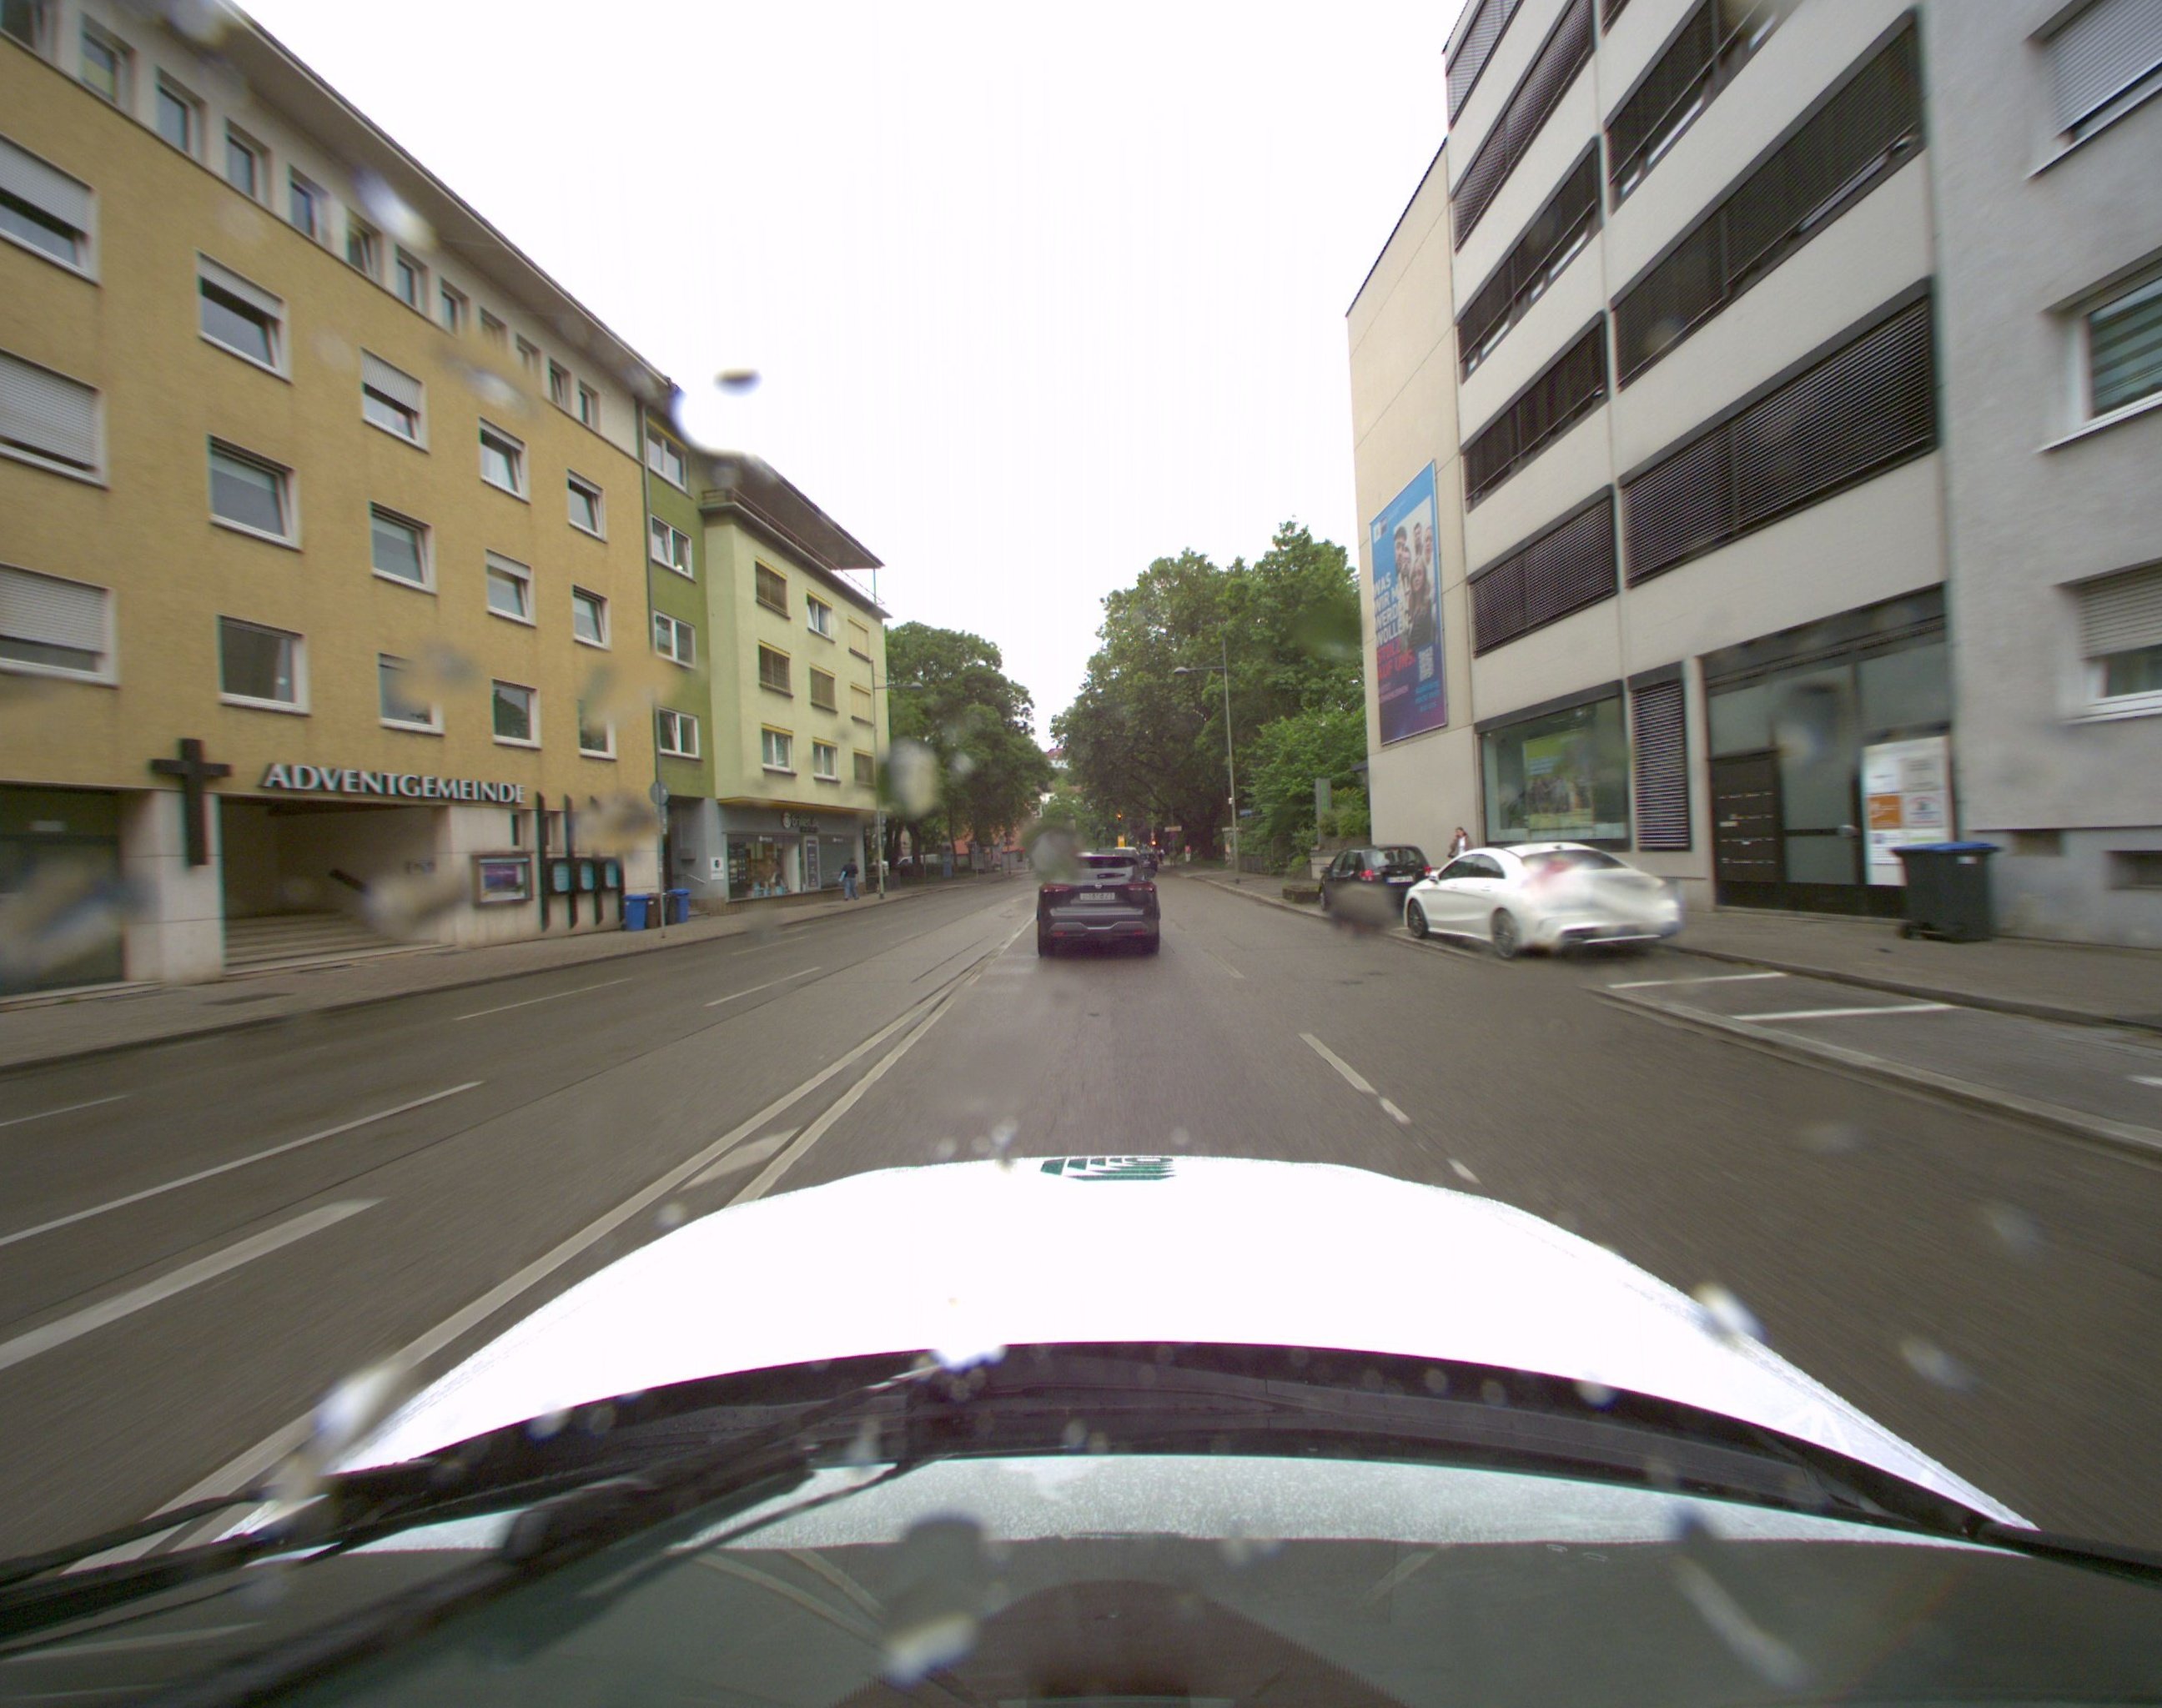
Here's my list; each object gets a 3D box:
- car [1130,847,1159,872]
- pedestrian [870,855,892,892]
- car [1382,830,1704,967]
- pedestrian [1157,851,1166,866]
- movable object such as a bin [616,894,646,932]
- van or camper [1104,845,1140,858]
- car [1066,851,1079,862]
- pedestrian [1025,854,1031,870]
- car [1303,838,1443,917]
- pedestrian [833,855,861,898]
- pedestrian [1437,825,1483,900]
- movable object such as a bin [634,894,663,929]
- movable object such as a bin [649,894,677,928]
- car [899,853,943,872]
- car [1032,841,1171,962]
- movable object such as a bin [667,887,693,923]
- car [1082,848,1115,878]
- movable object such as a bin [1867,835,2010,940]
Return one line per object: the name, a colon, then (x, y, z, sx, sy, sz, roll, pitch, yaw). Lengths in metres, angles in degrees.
car: (5.053, 0.441, 65.062, 1.939, 1.816, 3.999, -4, -1, 0)
pedestrian: (-9.531, 0.930, 38.841, 0.795, 1.688, 0.817, -2, 0, 1)
car: (6.010, 0.494, 11.380, 1.769, 1.401, 4.578, -4, 0, -1)
pedestrian: (9.584, 0.568, 97.022, 0.672, 1.791, 0.713, -1, 0, -40)
movable object such as a bin: (-11.862, 1.550, 21.466, 0.451, 0.929, 0.503, -2, 0, 8)
van or camper: (12.287, -0.718, 244.497, 10.894, 3.557, 3.184, -1, 0, 0)
car: (-1.426, 0.468, 136.612, 1.813, 1.796, 3.869, -1, 0, 3)
pedestrian: (-6.180, 0.941, 94.417, 0.665, 1.791, 0.720, -1, 0, -5)
car: (6.291, 0.460, 18.047, 1.708, 1.442, 4.084, -4, 0, 3)
pedestrian: (-9.773, 0.932, 34.046, 0.861, 1.788, 0.877, 0, 0, 7)
pedestrian: (9.084, 0.198, 19.541, 0.611, 1.737, 0.680, -4, -1, -6)
movable object such as a bin: (-11.720, 1.553, 22.066, 0.451, 0.900, 0.503, -2, 0, 8)
movable object such as a bin: (-11.623, 1.587, 22.654, 0.451, 0.900, 0.503, -2, 0, 8)
car: (-15.527, 0.815, 79.208, 3.821, 1.734, 1.879, -1, 0, 0)
car: (0.231, 0.653, 13.323, 1.889, 1.629, 3.997, -1, 0, -2)
movable object such as a bin: (-11.679, 1.473, 23.724, 0.397, 1.006, 0.546, -2, 0, 9)
car: (1.170, 0.590, 53.305, 1.938, 1.685, 4.003, -4, -1, 3)
movable object such as a bin: (9.436, 0.351, 8.990, 0.711, 1.068, 0.783, -3, 0, -5)
